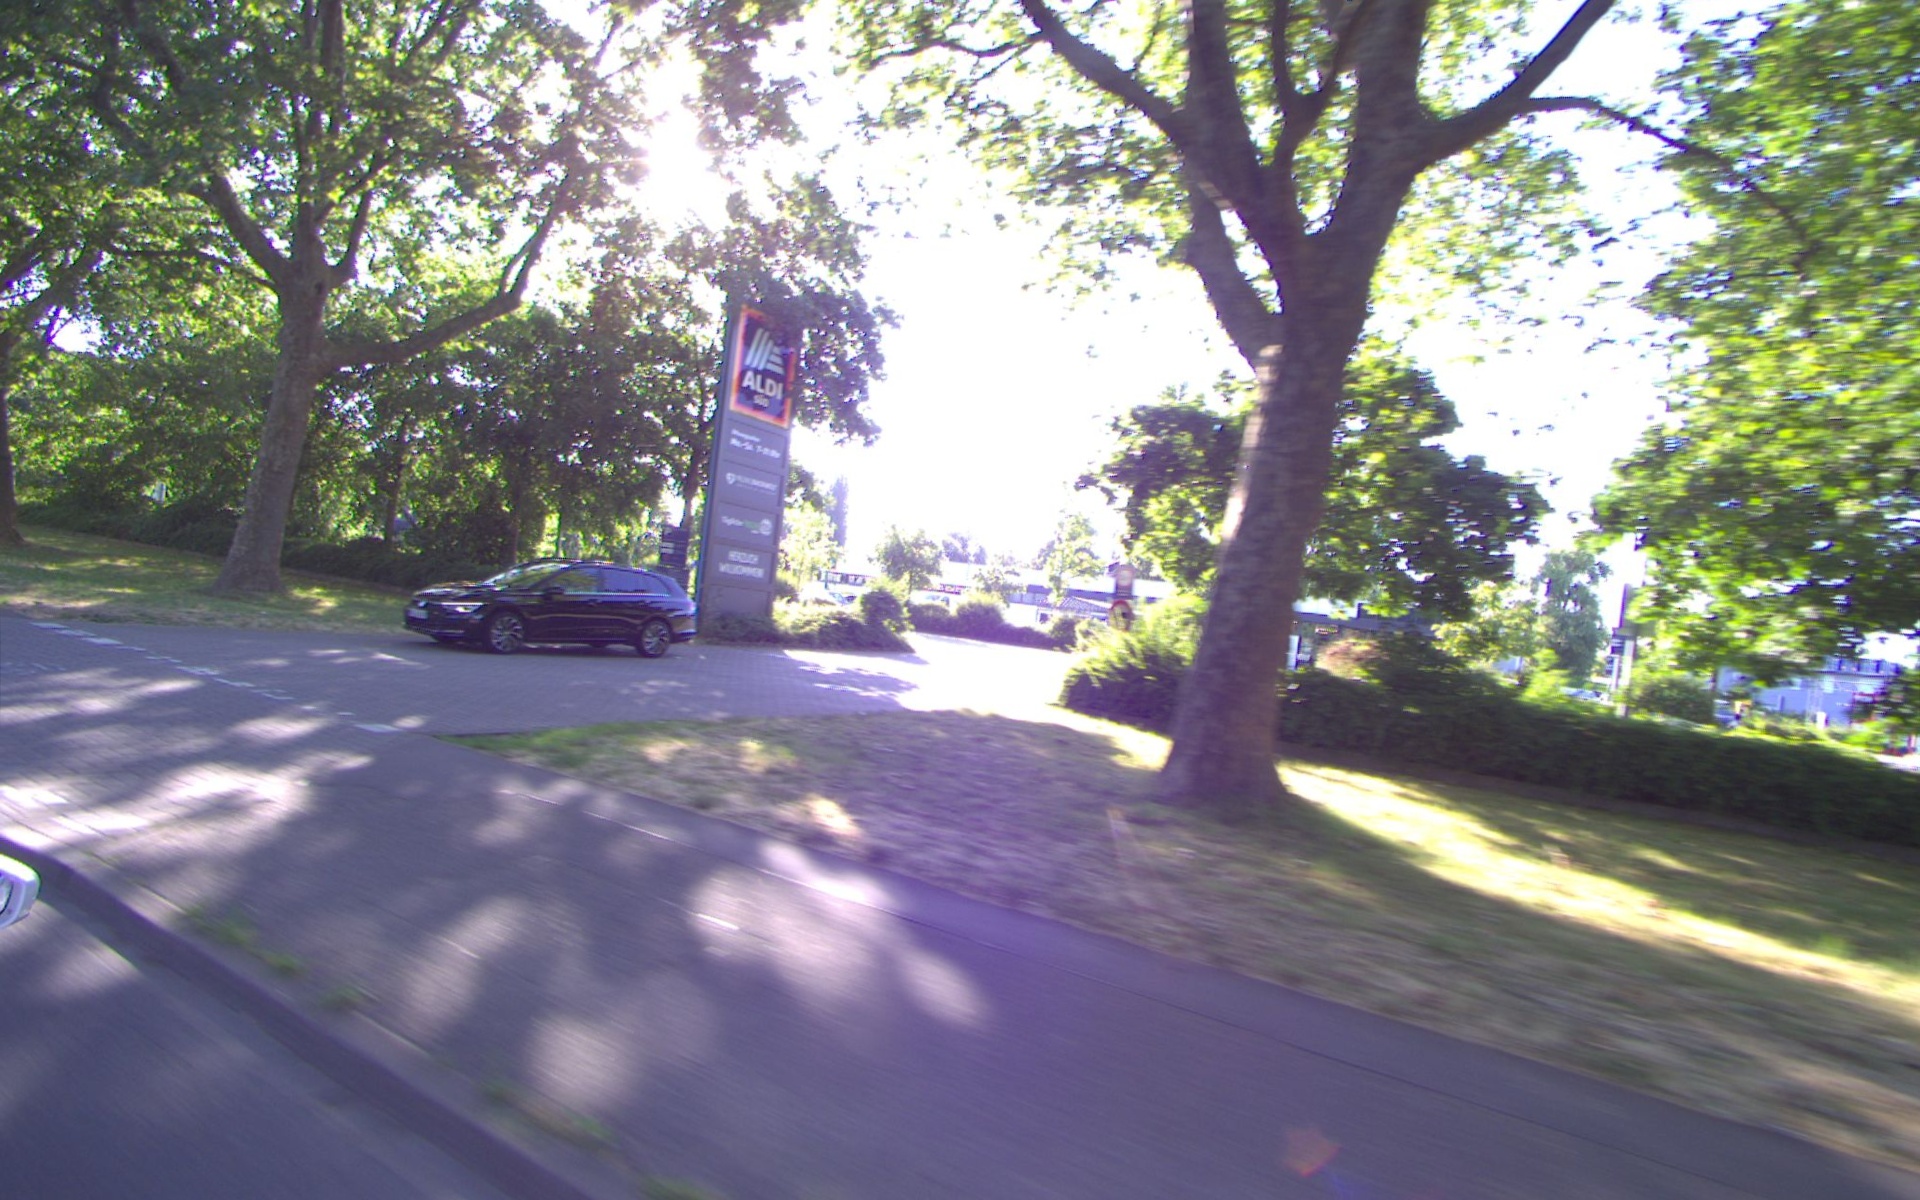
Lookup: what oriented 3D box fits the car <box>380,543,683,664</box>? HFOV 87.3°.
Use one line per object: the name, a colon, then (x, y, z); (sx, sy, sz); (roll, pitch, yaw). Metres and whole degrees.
car: (-6.573, 0.126, 15.826); (1.733, 1.461, 3.988); (7, 0, 35)
